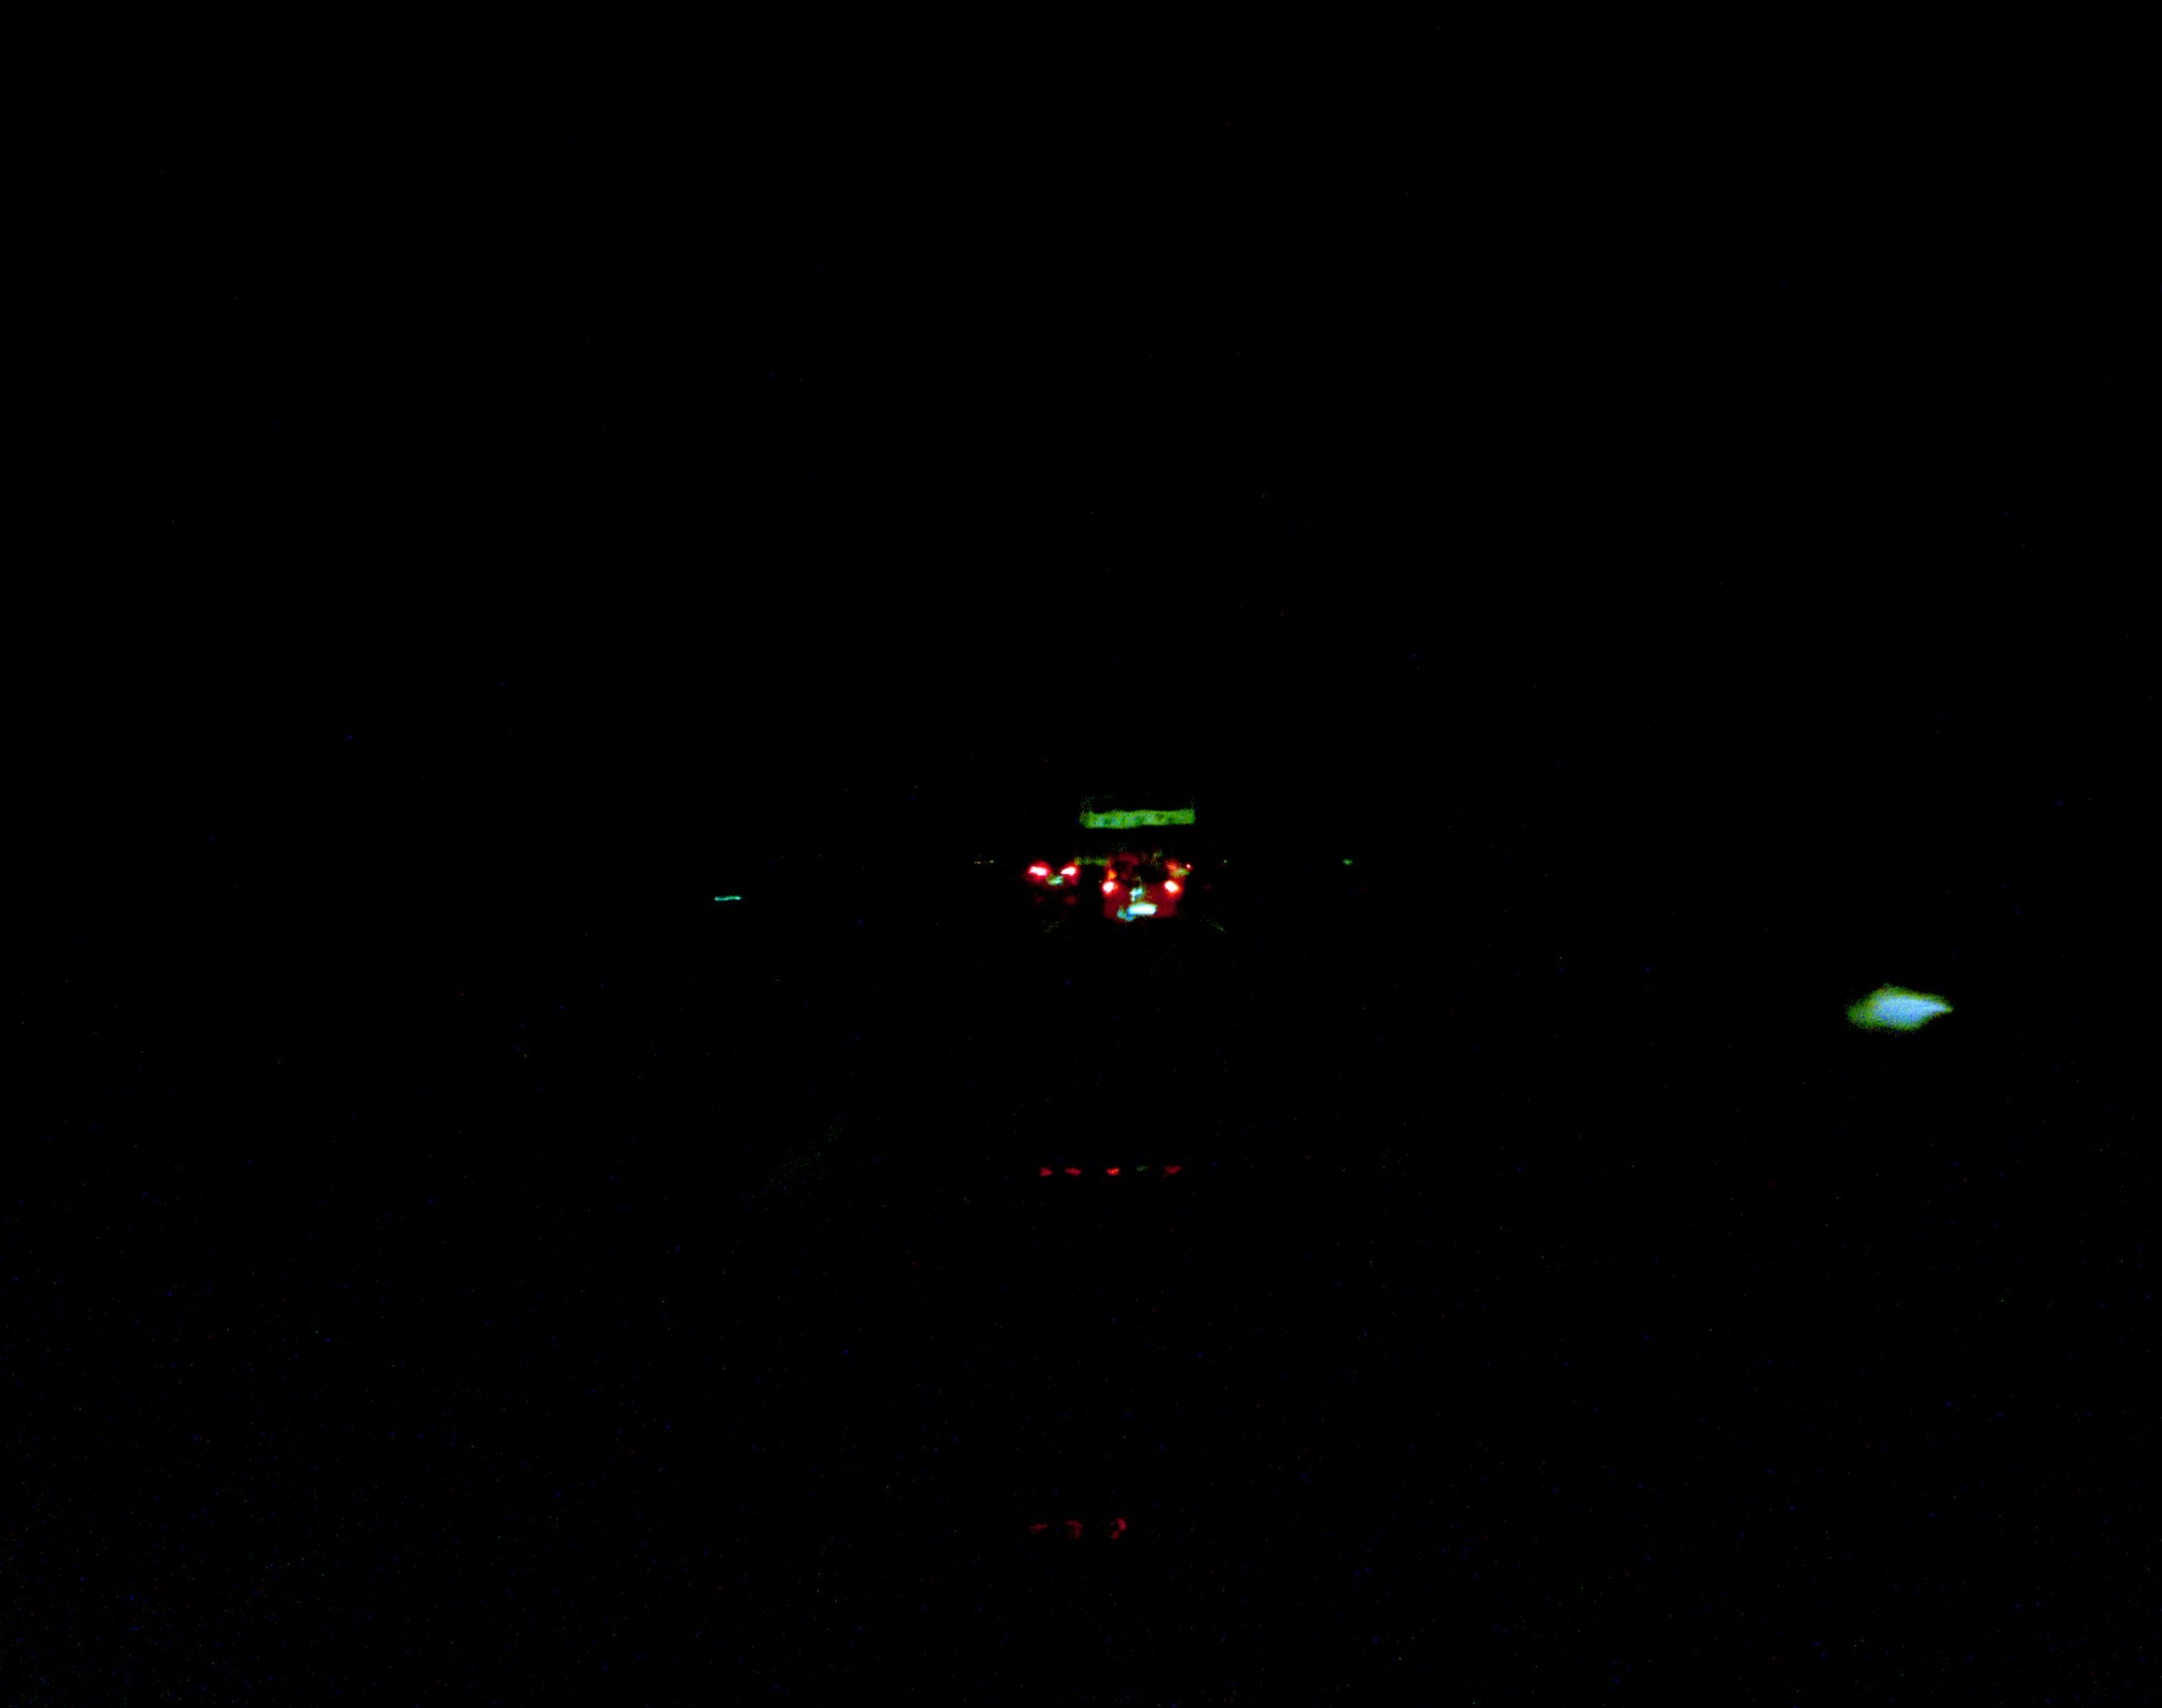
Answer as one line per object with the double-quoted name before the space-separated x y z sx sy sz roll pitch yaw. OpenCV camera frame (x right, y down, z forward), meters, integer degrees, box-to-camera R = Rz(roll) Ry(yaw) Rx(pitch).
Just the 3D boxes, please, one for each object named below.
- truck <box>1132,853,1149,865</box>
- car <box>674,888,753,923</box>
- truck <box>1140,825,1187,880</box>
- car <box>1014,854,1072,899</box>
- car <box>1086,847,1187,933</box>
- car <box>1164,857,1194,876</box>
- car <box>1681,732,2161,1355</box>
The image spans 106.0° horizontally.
"truck" 15.233 1.297 209.462 3.821 3.055 11.008 0 0 2
"car" -18.195 2.535 40.533 1.986 1.486 4.002 0 0 2
"truck" 9.121 -0.098 91.479 4.151 5.544 13.080 -3 -1 2
"car" -1.624 0.953 36.634 1.985 1.777 4.891 -3 -1 3
"car" 1.184 0.735 18.211 1.908 1.594 4.236 -3 -1 2
"car" 7.172 0.911 59.951 1.883 1.354 4.001 0 0 1
"car" 4.062 0.545 1.733 1.945 1.792 5.126 0 -1 2
